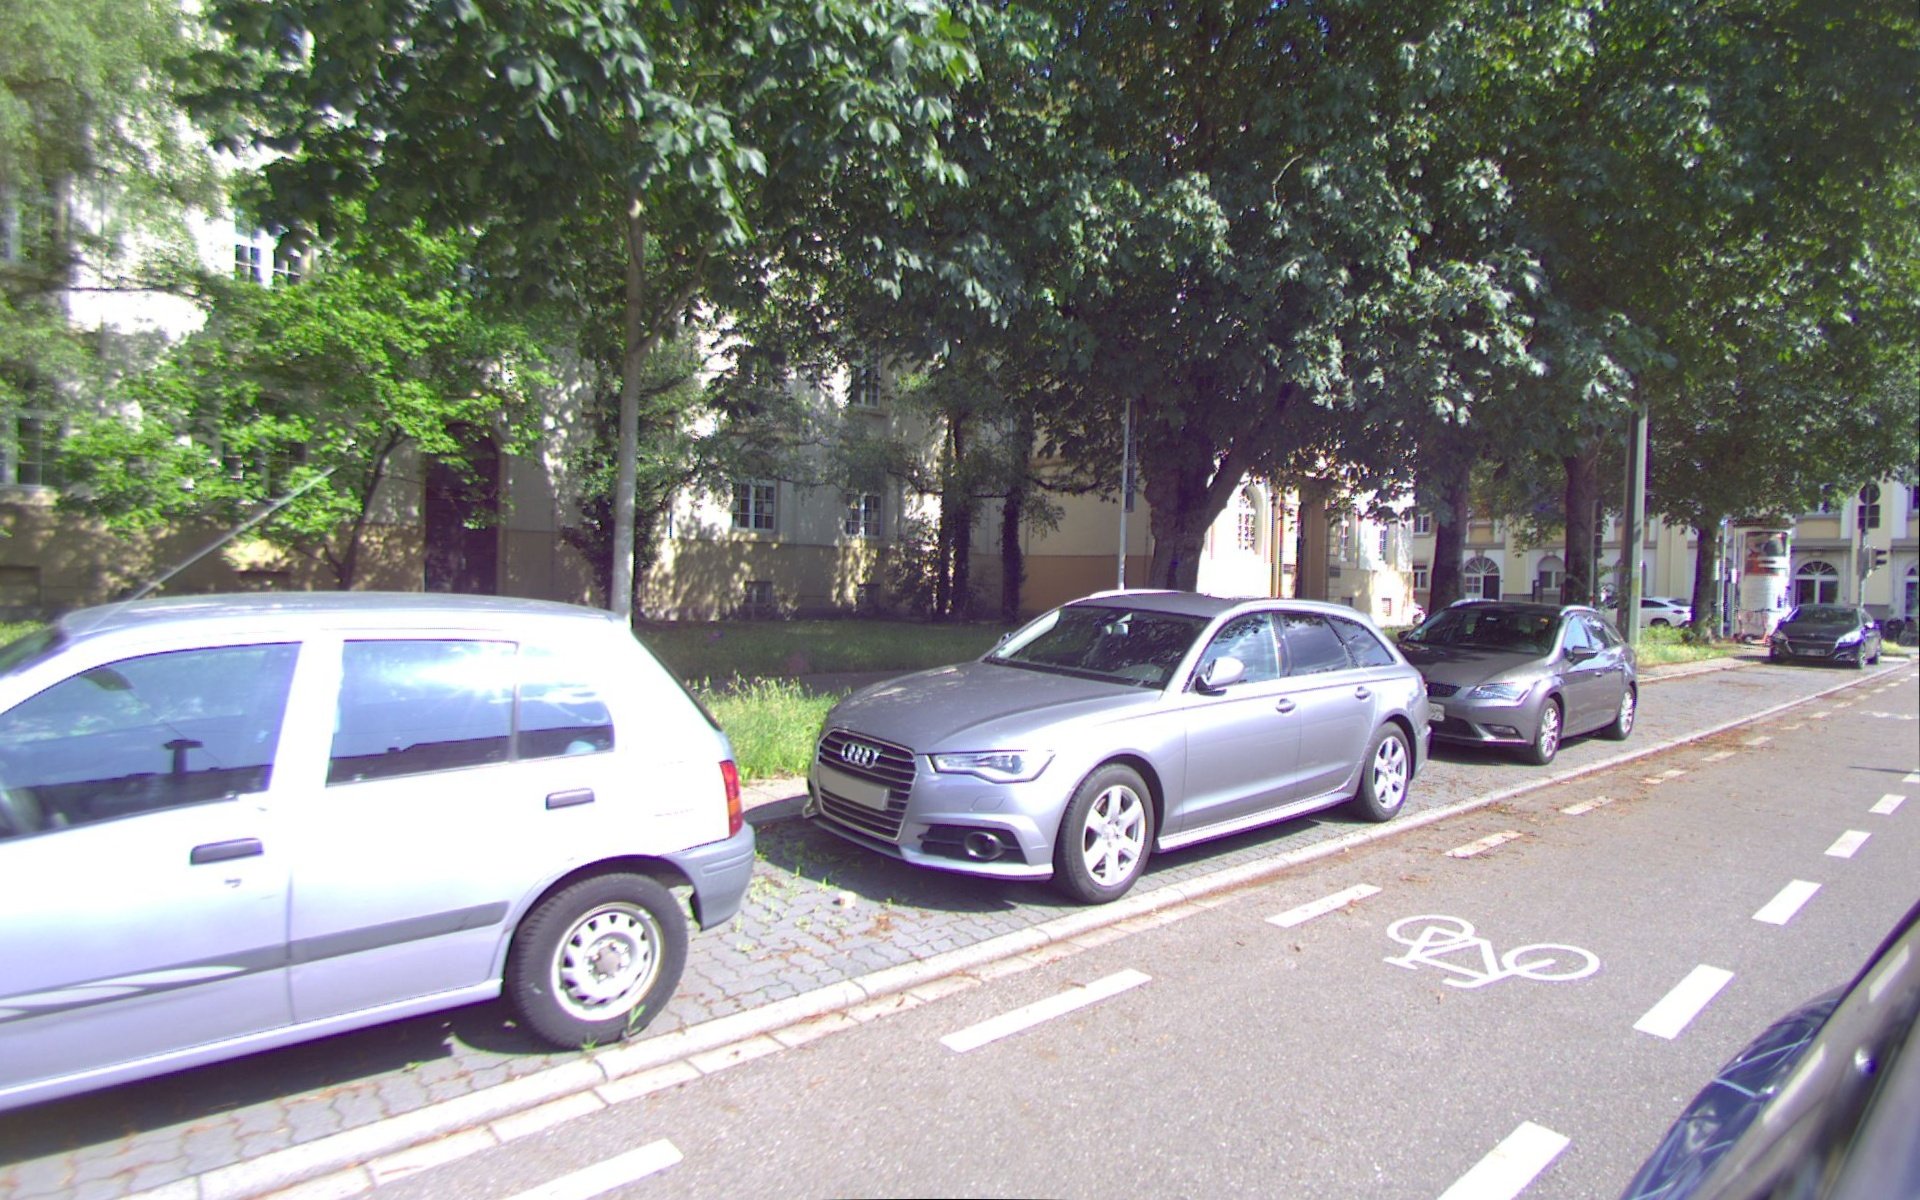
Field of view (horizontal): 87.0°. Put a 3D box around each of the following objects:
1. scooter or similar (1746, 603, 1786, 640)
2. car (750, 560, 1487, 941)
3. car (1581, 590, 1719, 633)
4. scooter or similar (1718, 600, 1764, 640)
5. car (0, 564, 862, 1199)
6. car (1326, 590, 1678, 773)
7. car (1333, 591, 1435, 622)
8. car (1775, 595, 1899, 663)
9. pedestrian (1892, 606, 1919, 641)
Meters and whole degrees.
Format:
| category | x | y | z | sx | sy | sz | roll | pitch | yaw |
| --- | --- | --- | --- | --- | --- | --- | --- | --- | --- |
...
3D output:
| category | x | y | z | sx | sy | sz | roll | pitch | yaw |
| --- | --- | --- | --- | --- | --- | --- | --- | --- | --- |
| scooter or similar | 26.109 | 0.694 | 32.777 | 1.103 | 1.193 | 0.415 | 1 | -1 | -13 |
| car | 1.342 | 0.613 | 6.454 | 4.961 | 1.458 | 1.833 | 1 | 4 | -41 |
| car | 31.080 | 0.466 | 45.722 | 1.820 | 1.676 | 4.841 | -1 | 2 | -31 |
| scooter or similar | 25.900 | 0.653 | 33.570 | 0.437 | 1.257 | 1.110 | 1 | 1 | -19 |
| car | -2.418 | 0.672 | 2.974 | 3.942 | 1.448 | 1.641 | 1 | 4 | -39 |
| car | 5.932 | 0.700 | 10.806 | 4.578 | 1.417 | 1.832 | 1 | 4 | -43 |
| car | 20.285 | 0.299 | 48.518 | 4.095 | 1.369 | 1.859 | 1 | 1 | -5 |
| car | 21.200 | 0.632 | 24.422 | 3.856 | 1.404 | 1.689 | 0 | 3 | -41 |
| pedestrian | 37.695 | 0.920 | 40.250 | 0.745 | 1.304 | 0.804 | -2 | 2 | -39 |
